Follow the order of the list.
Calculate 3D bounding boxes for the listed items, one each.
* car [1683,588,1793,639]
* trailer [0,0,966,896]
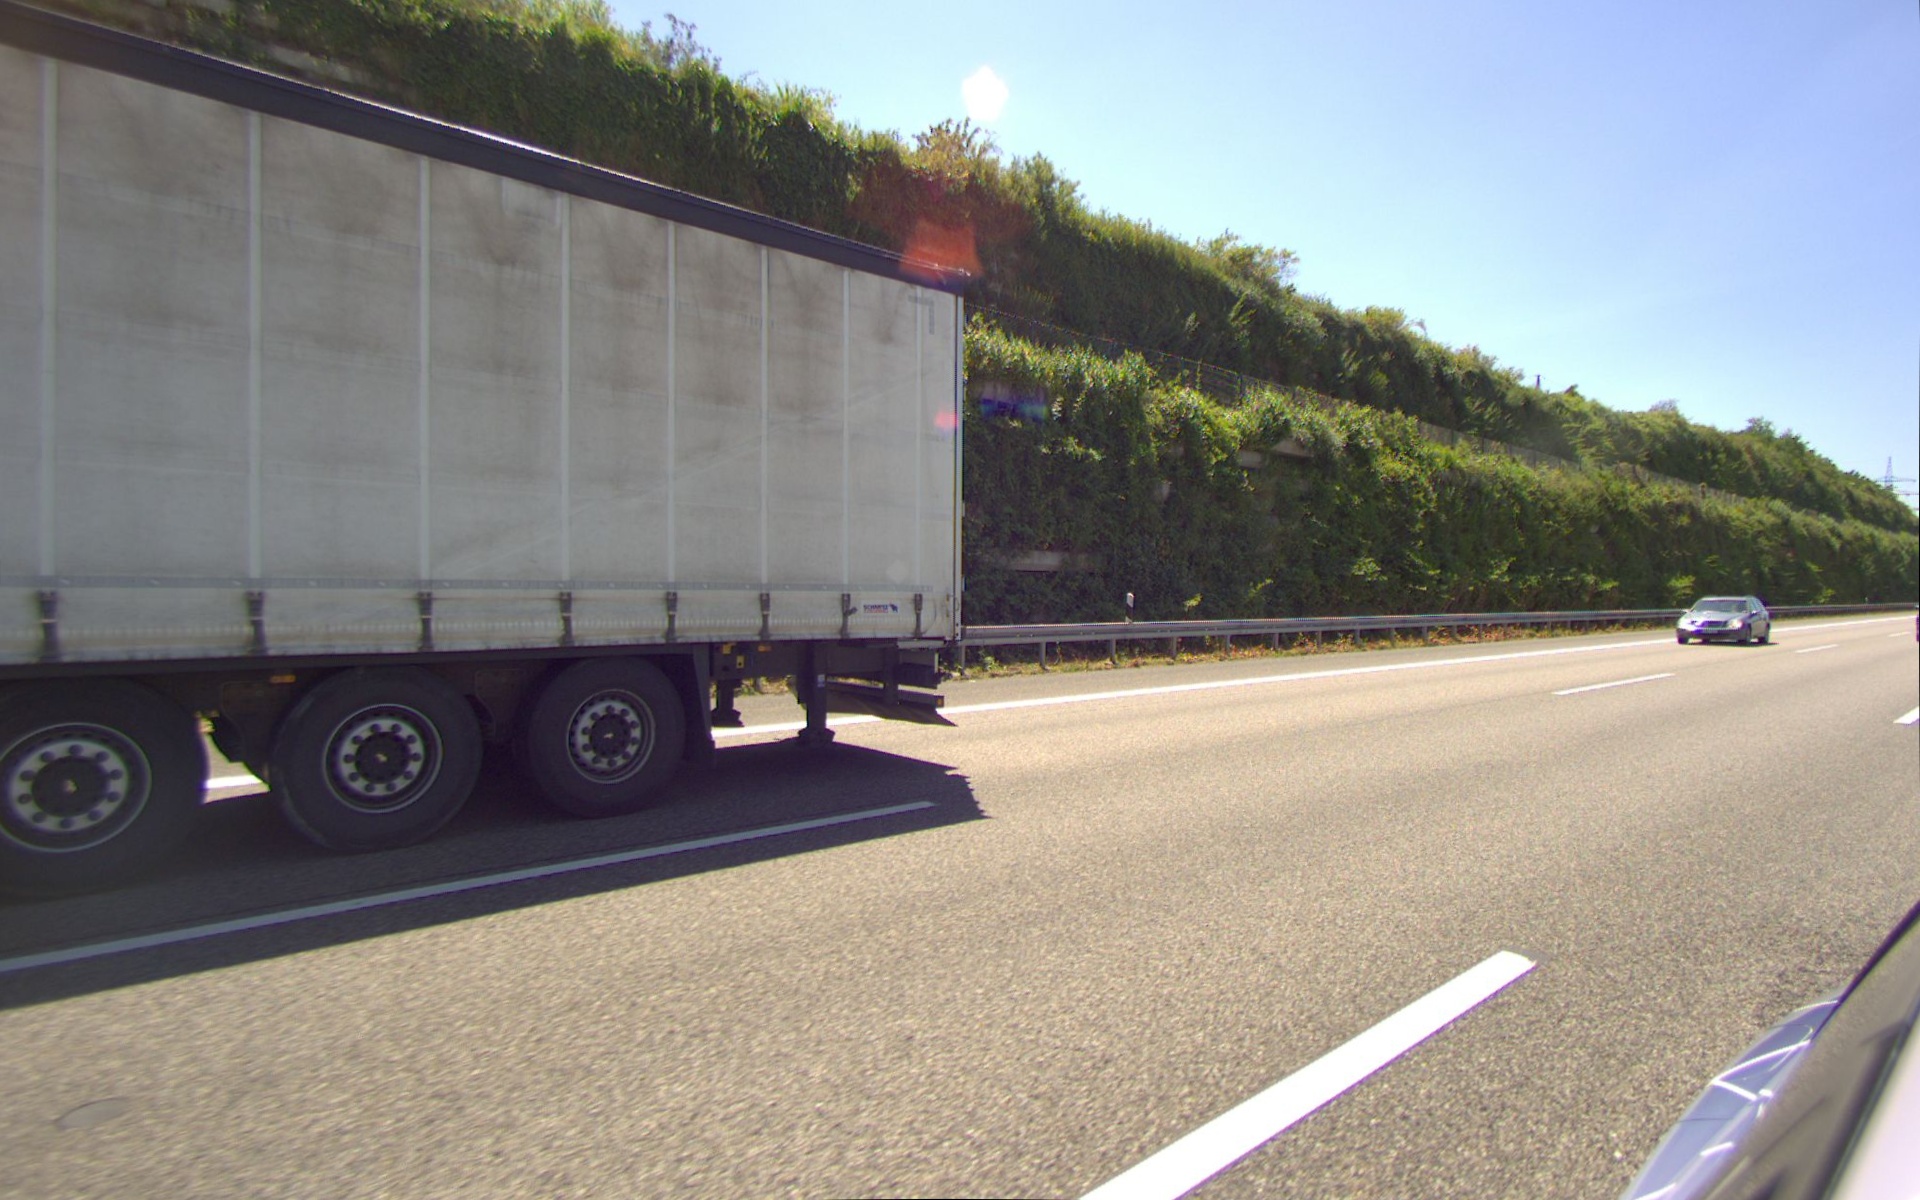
[{"bbox_3d":[23.607,0.361,30.642,4.479,1.429,1.838,0,1,-41],"label":"car"},{"bbox_3d":[-5.711,-0.813,4.859,12.961,4.153,2.733,-1,1,-41],"label":"trailer"}]
